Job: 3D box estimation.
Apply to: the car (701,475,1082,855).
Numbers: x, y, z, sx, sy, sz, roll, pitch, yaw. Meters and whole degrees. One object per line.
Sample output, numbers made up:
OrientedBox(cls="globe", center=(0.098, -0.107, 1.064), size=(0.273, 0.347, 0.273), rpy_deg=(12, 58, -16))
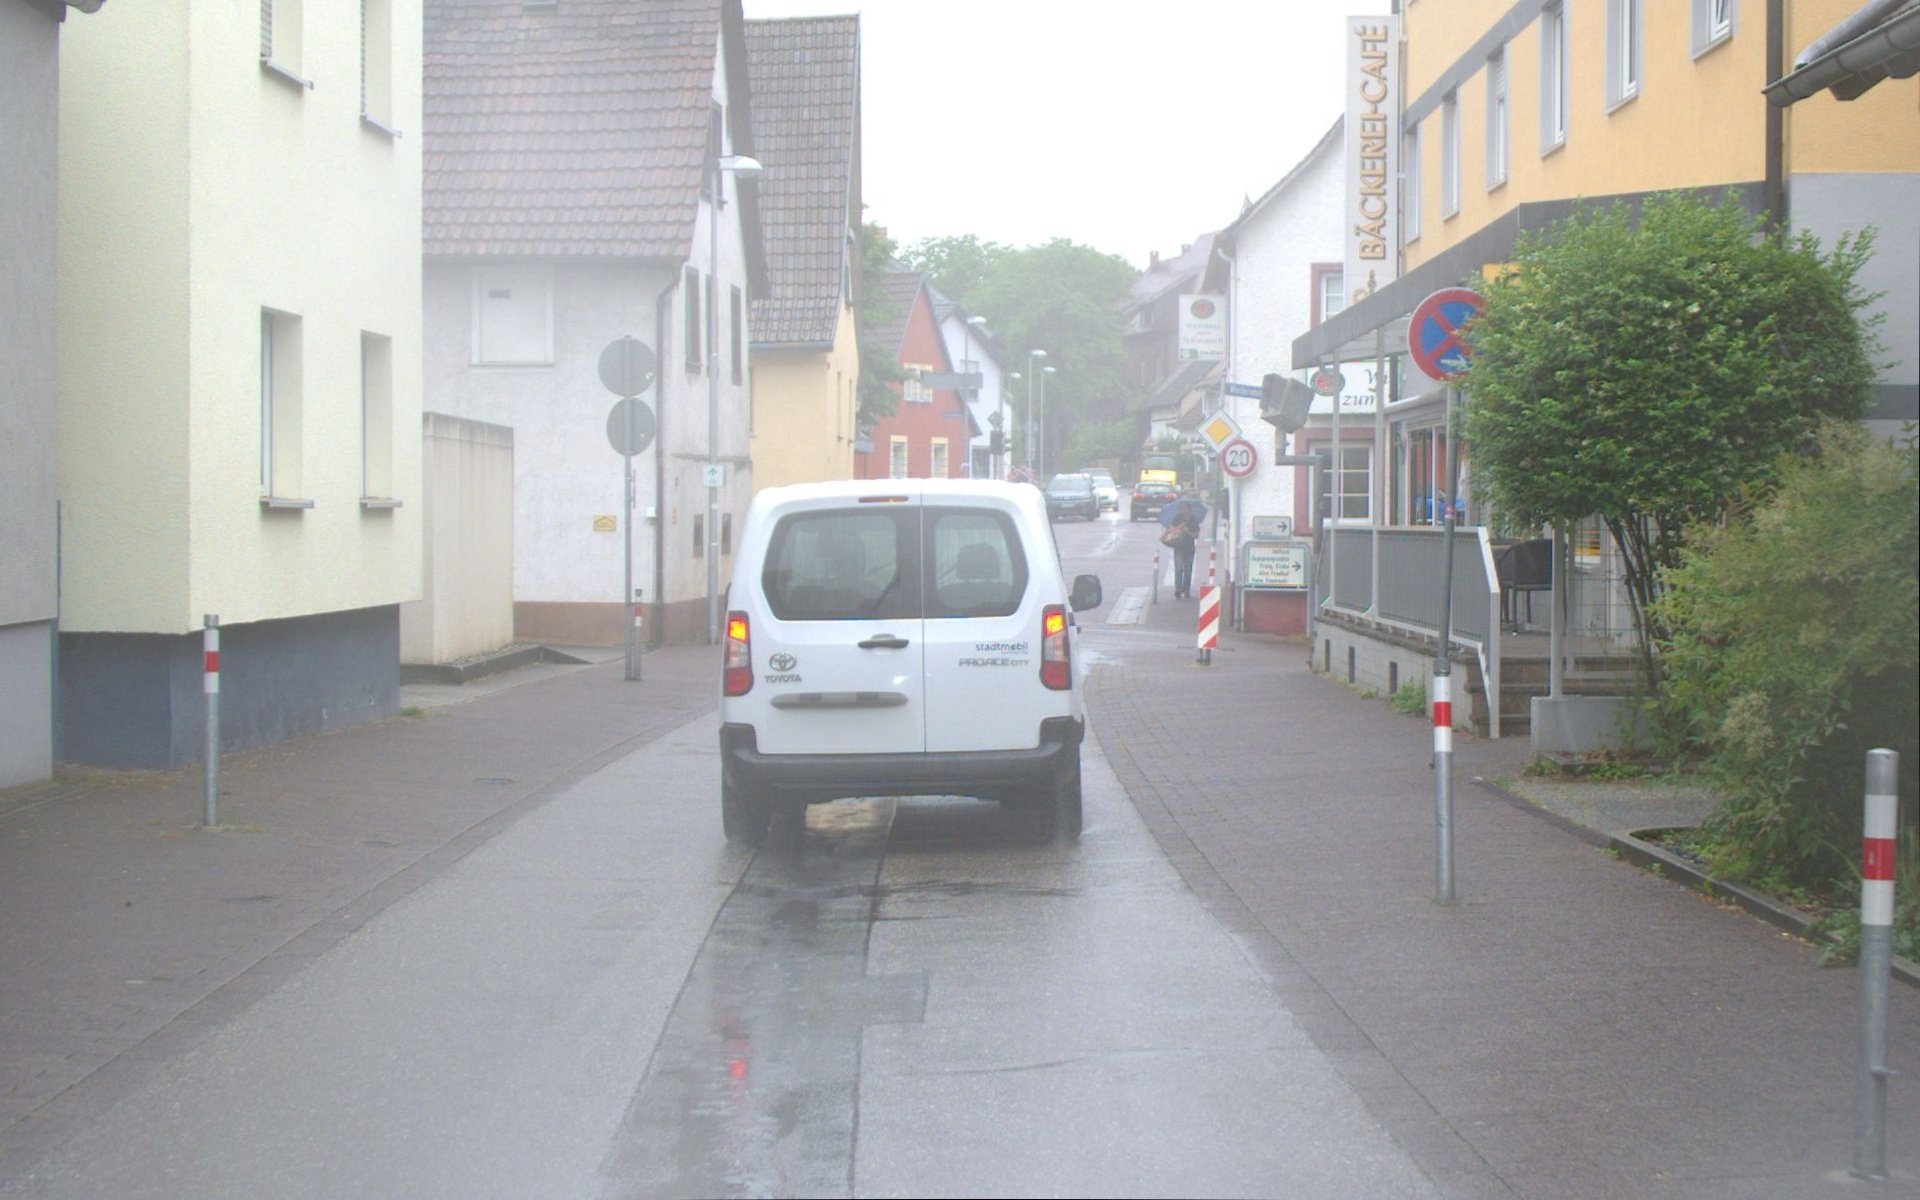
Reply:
OrientedBox(cls="car", center=(-0.266, 0.278, 18.297), size=(1.775, 1.774, 4.000), rpy_deg=(-1, 1, 2))

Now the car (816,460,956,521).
OrientedBox(cls="car", center=(-2.133, -3.152, 98.825), size=(3.420, 1.554, 2.001), rpy_deg=(-5, 3, -23))

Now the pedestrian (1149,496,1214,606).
OrientedBox(cls="pedestrian", center=(3.863, -0.853, 60.026), size=(1.050, 1.886, 0.877), rpy_deg=(-1, 1, 0))

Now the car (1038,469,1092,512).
OrientedBox(cls="car", center=(3.789, -3.912, 123.346), size=(1.589, 1.436, 3.765), rpy_deg=(1, 1, 7))

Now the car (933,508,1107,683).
OrientedBox(cls="car", center=(0.783, -0.083, 42.258), size=(1.994, 2.007, 4.000), rpy_deg=(-1, 1, 3))
